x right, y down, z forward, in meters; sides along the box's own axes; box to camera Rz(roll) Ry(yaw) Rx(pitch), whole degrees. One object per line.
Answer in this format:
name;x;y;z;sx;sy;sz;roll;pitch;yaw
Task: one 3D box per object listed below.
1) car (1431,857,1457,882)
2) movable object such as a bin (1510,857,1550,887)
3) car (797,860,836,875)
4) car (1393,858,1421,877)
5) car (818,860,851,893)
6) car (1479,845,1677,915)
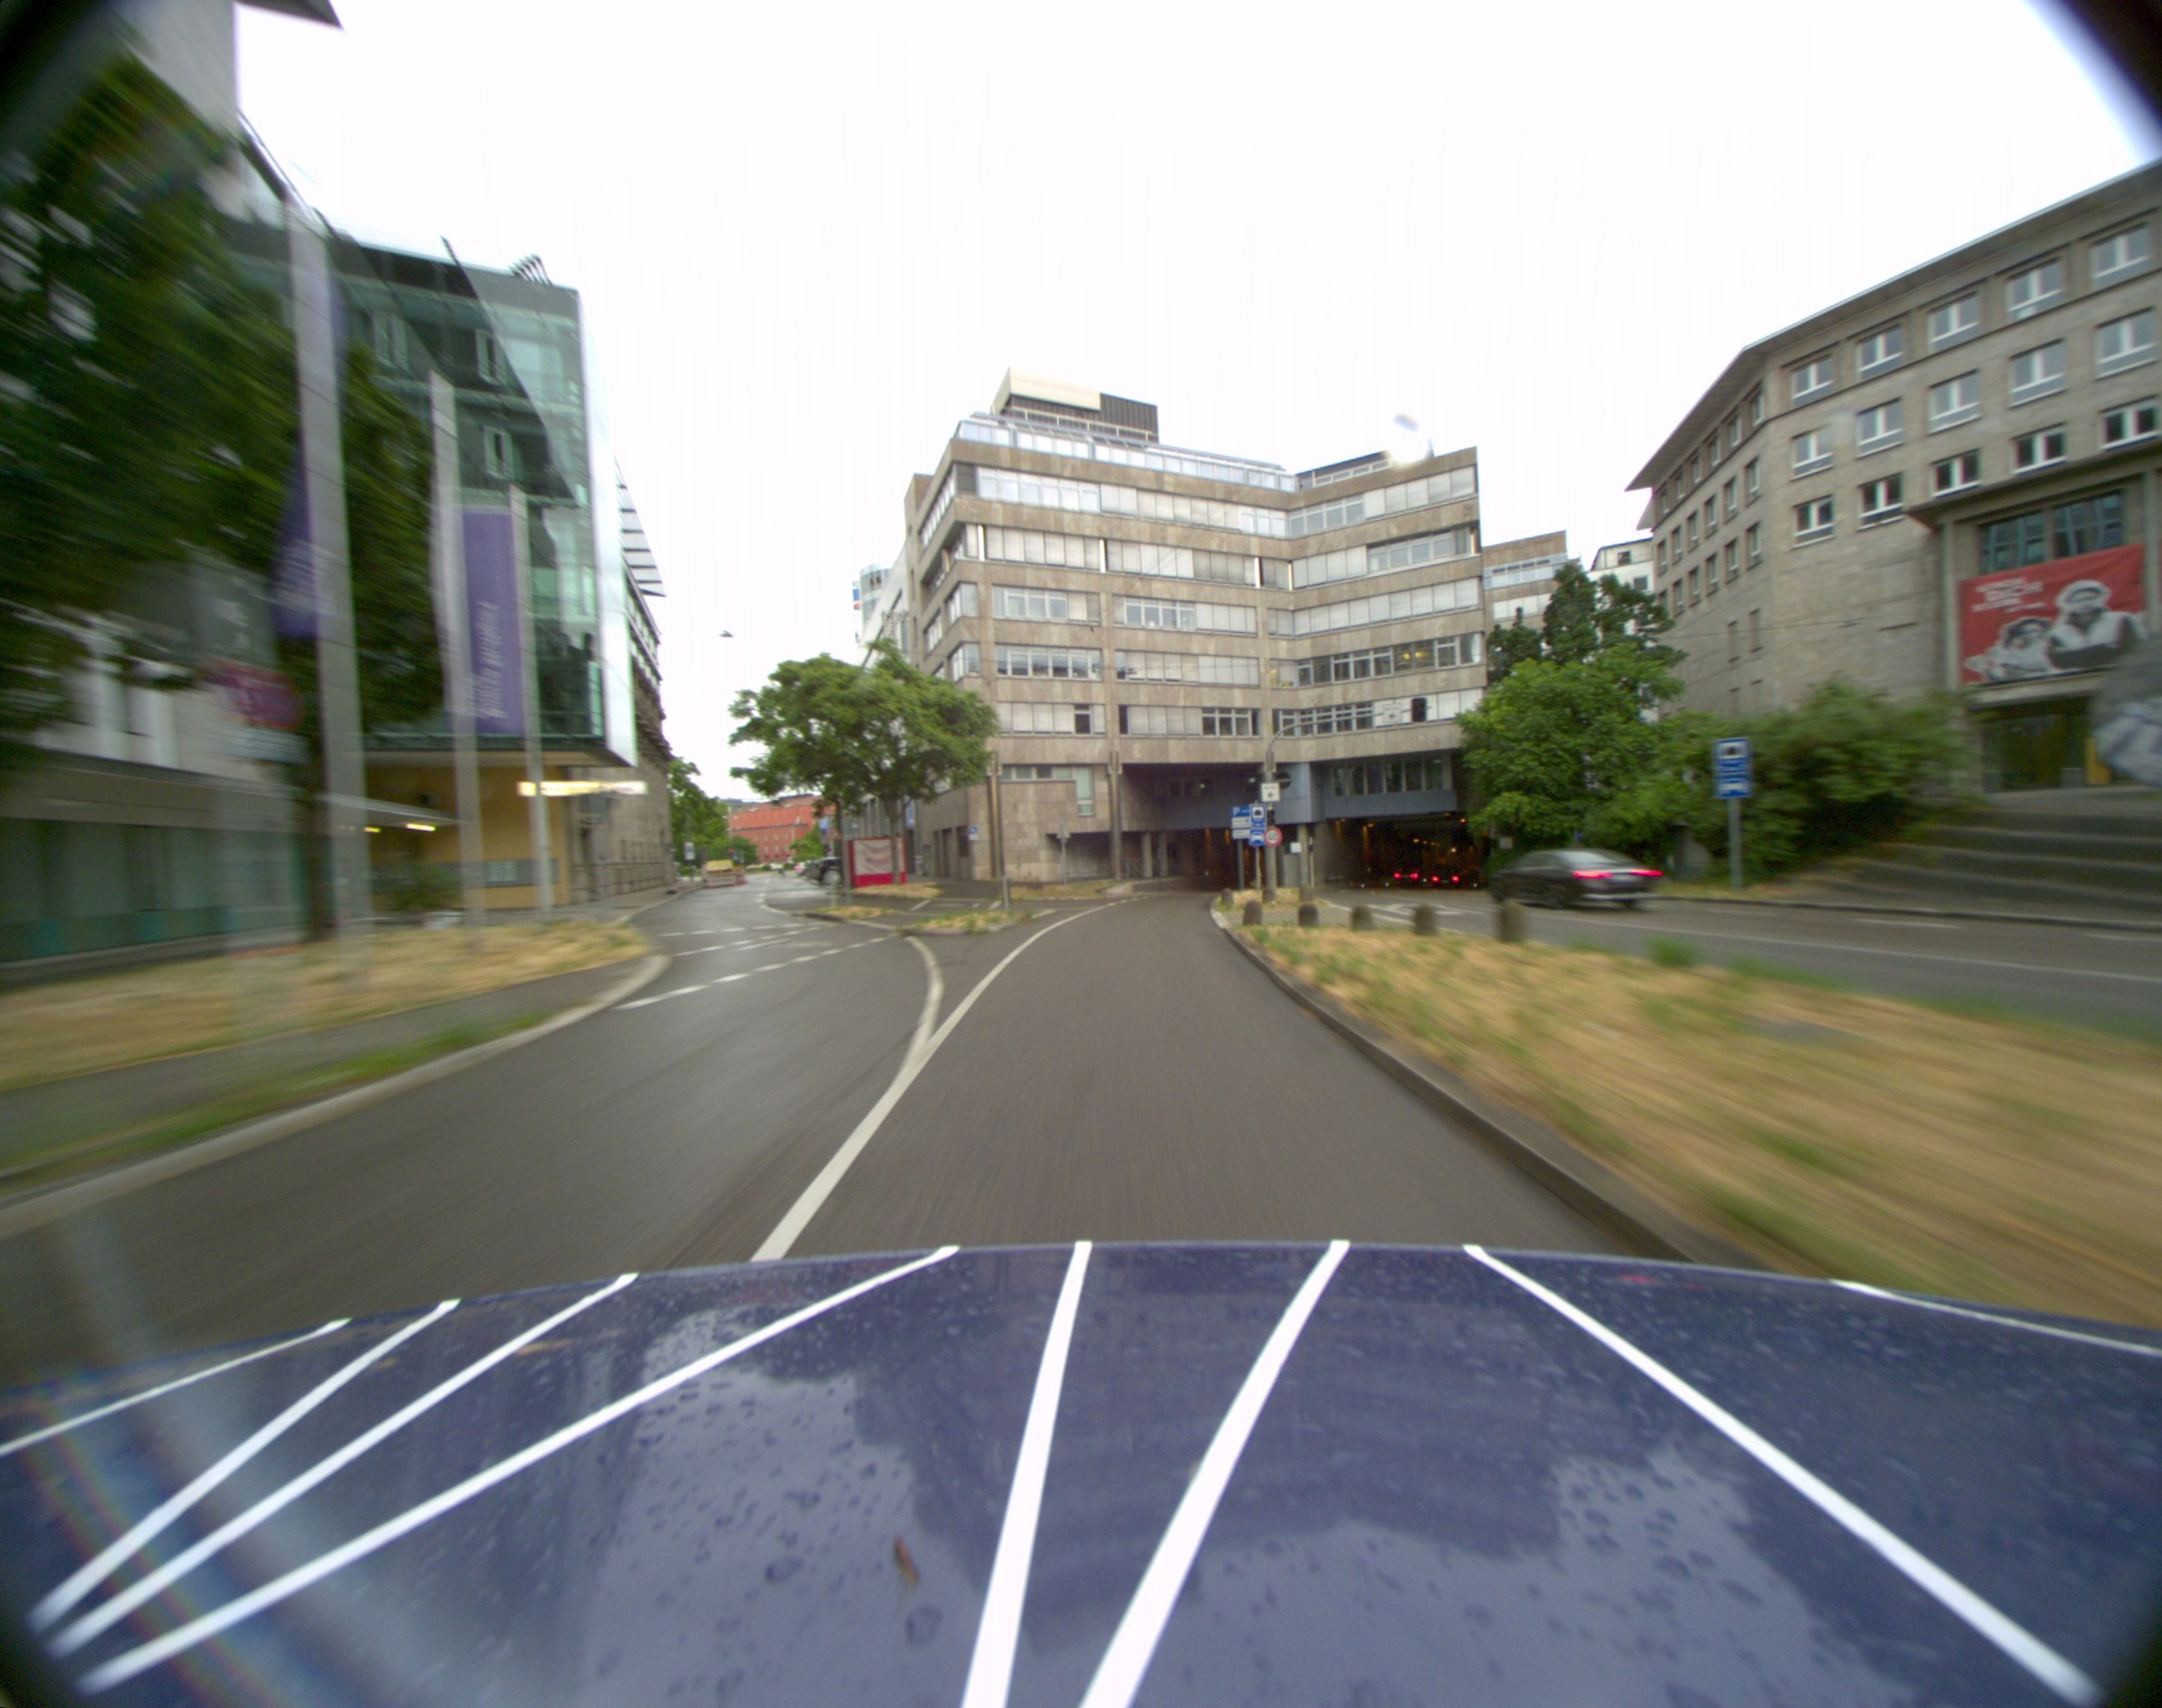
car;29.864;1.301;62.550;1.838;1.910;4.652;-1;-2;26
movable object such as a bin;22.997;0.920;38.925;1.169;1.442;1.337;-2;0;-32
car;-29.696;1.496;85.308;3.778;1.641;1.795;-1;0;-36
car;28.083;1.189;65.455;1.846;1.578;4.398;-1;-2;28
car;-17.290;1.553;53.449;2.001;2.068;3.994;-4;1;-17
car;12.215;0.563;19.167;1.998;1.484;4.842;-2;0;3
